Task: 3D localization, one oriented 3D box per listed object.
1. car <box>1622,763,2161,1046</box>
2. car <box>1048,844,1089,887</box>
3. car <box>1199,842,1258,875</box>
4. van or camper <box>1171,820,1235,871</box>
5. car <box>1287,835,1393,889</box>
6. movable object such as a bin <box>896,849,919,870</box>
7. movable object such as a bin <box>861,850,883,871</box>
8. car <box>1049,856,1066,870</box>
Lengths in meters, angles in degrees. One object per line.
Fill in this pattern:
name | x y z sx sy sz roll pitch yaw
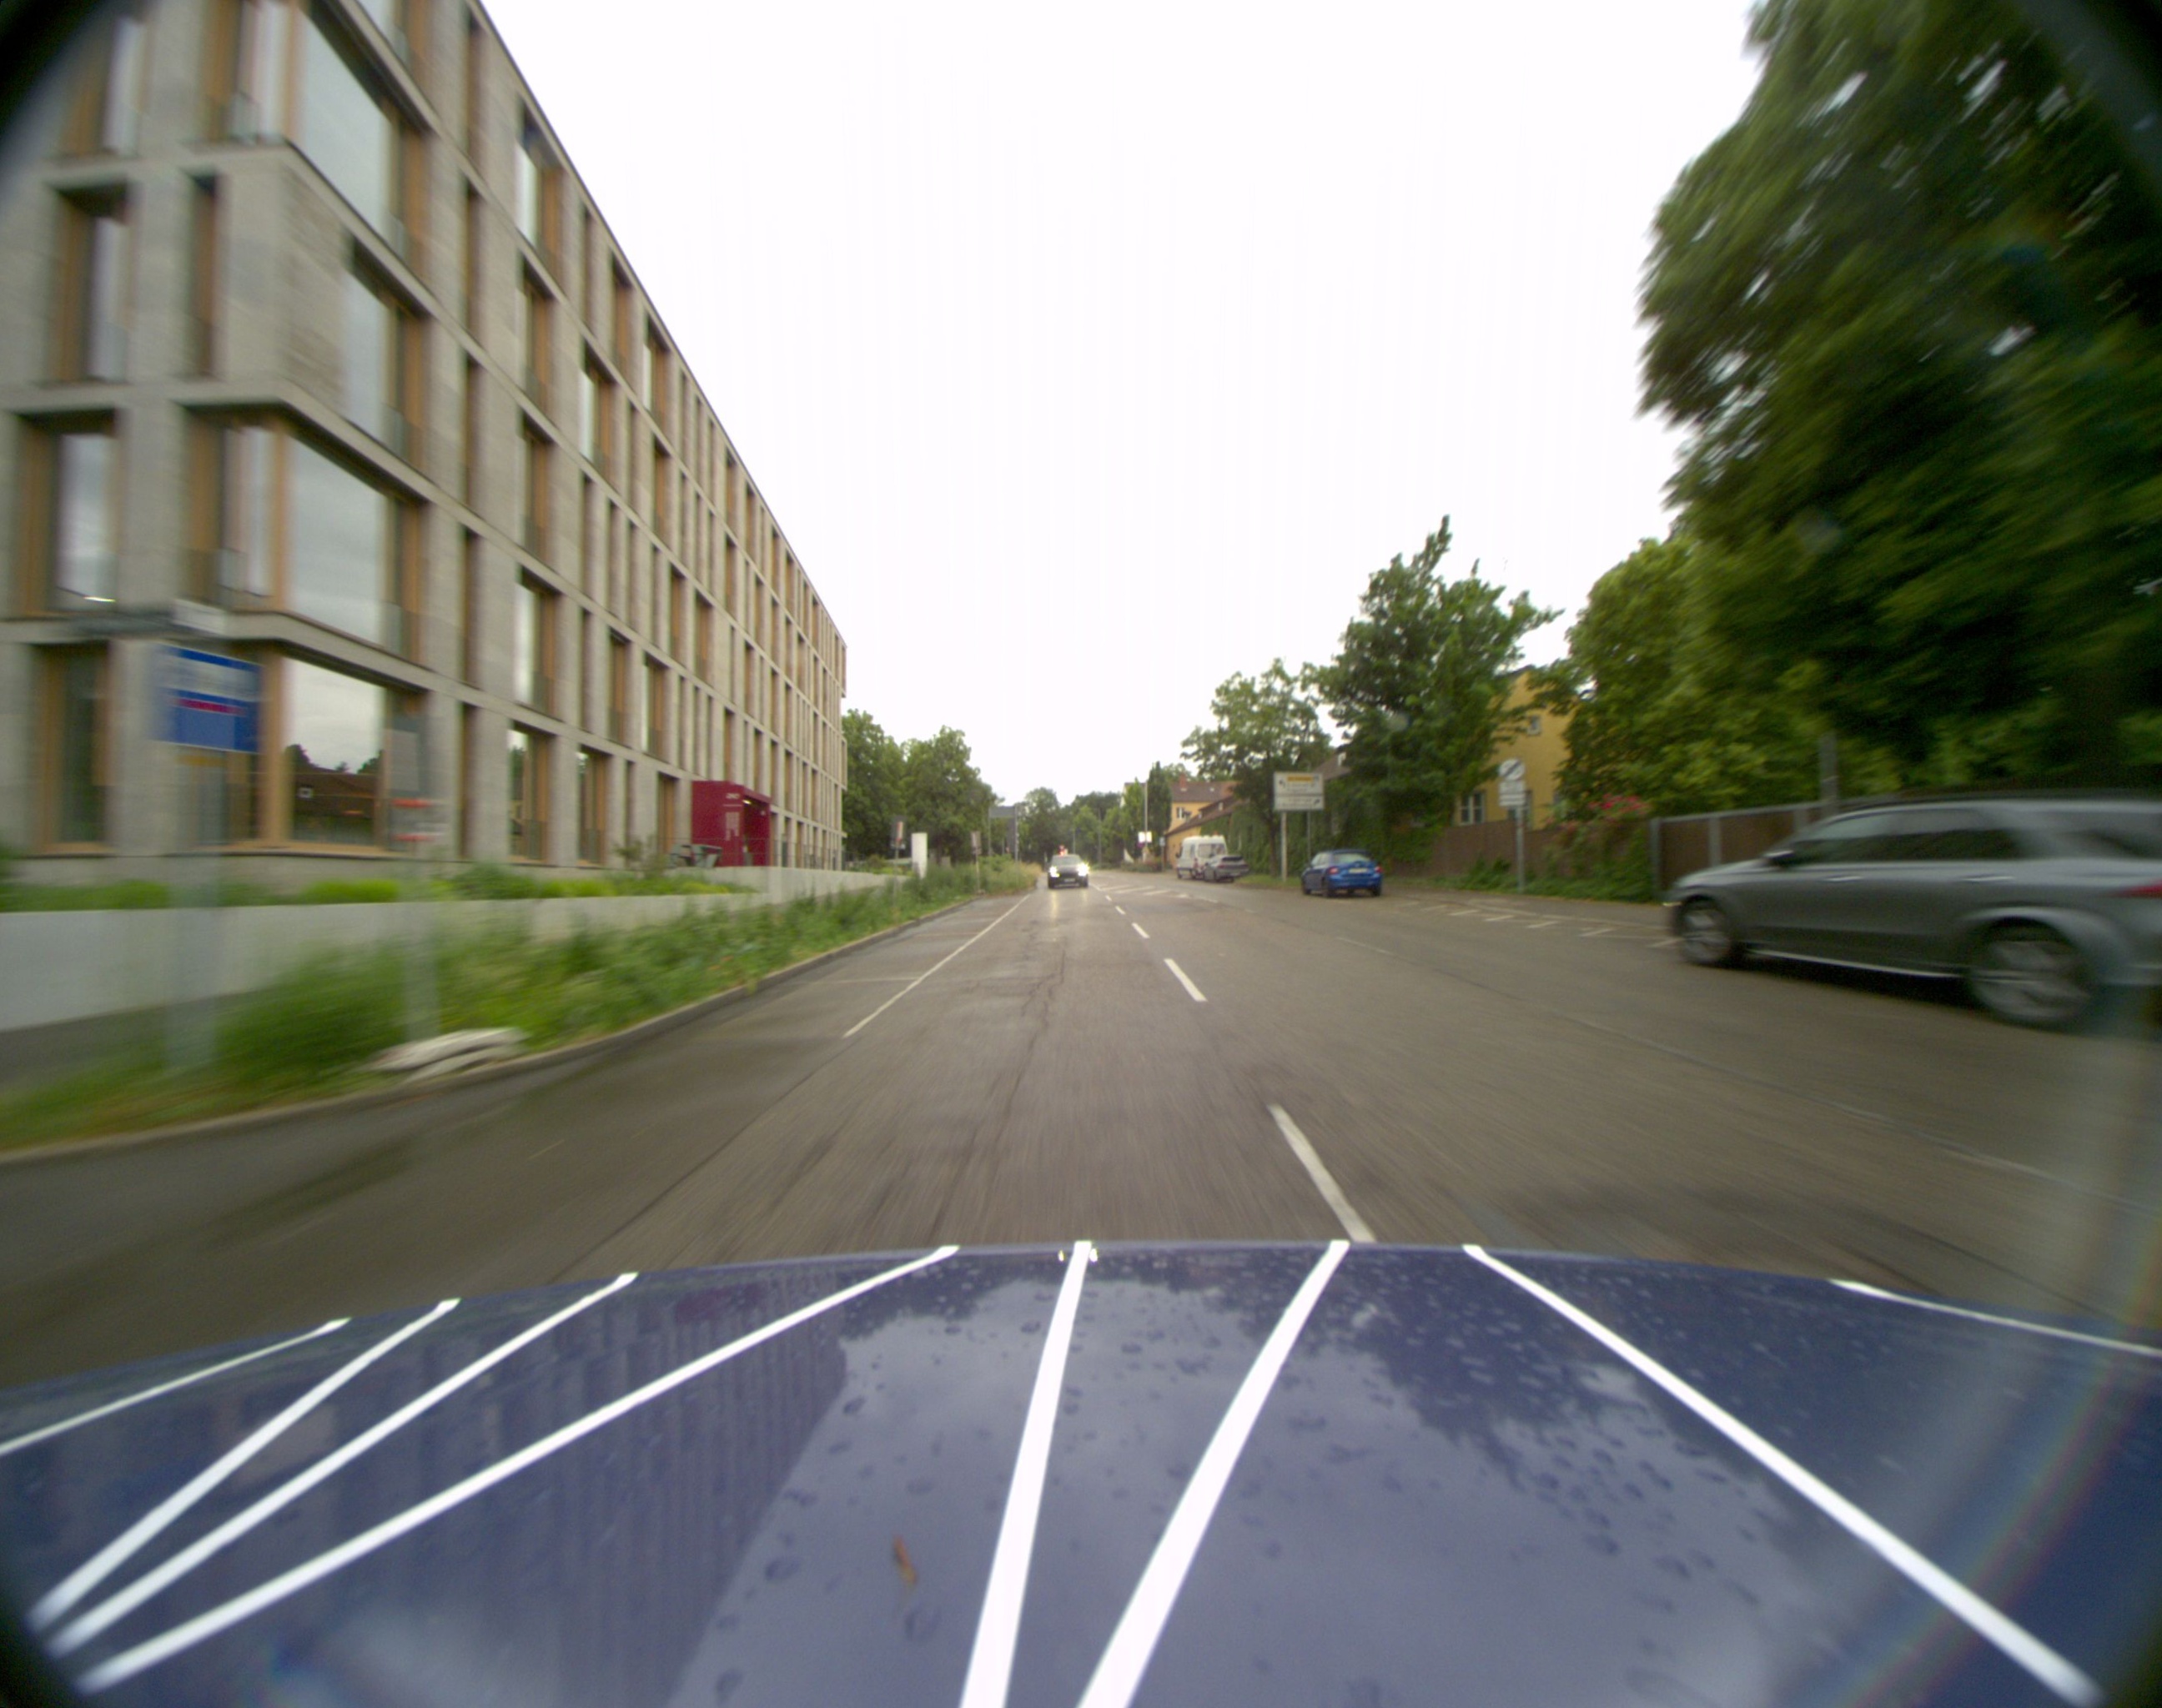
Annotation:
car | 7.859 0.210 7.024 1.998 1.776 5.410 -3 1 3
car | -0.623 0.538 39.088 1.848 1.961 4.342 -3 1 0
car | 7.679 0.177 39.983 1.999 1.504 4.420 -3 1 -3
van or camper | 7.248 -0.498 46.023 2.347 2.749 6.139 -3 1 -4
car | 8.162 0.181 24.341 1.998 1.462 4.185 -3 1 1
movable object such as a bin | -12.907 0.397 56.466 1.250 1.450 1.111 -6 2 3
movable object such as a bin | -15.497 0.485 56.363 1.199 1.495 1.387 -3 2 1
car | -3.336 1.275 107.779 1.900 1.695 4.505 -3 1 -7
